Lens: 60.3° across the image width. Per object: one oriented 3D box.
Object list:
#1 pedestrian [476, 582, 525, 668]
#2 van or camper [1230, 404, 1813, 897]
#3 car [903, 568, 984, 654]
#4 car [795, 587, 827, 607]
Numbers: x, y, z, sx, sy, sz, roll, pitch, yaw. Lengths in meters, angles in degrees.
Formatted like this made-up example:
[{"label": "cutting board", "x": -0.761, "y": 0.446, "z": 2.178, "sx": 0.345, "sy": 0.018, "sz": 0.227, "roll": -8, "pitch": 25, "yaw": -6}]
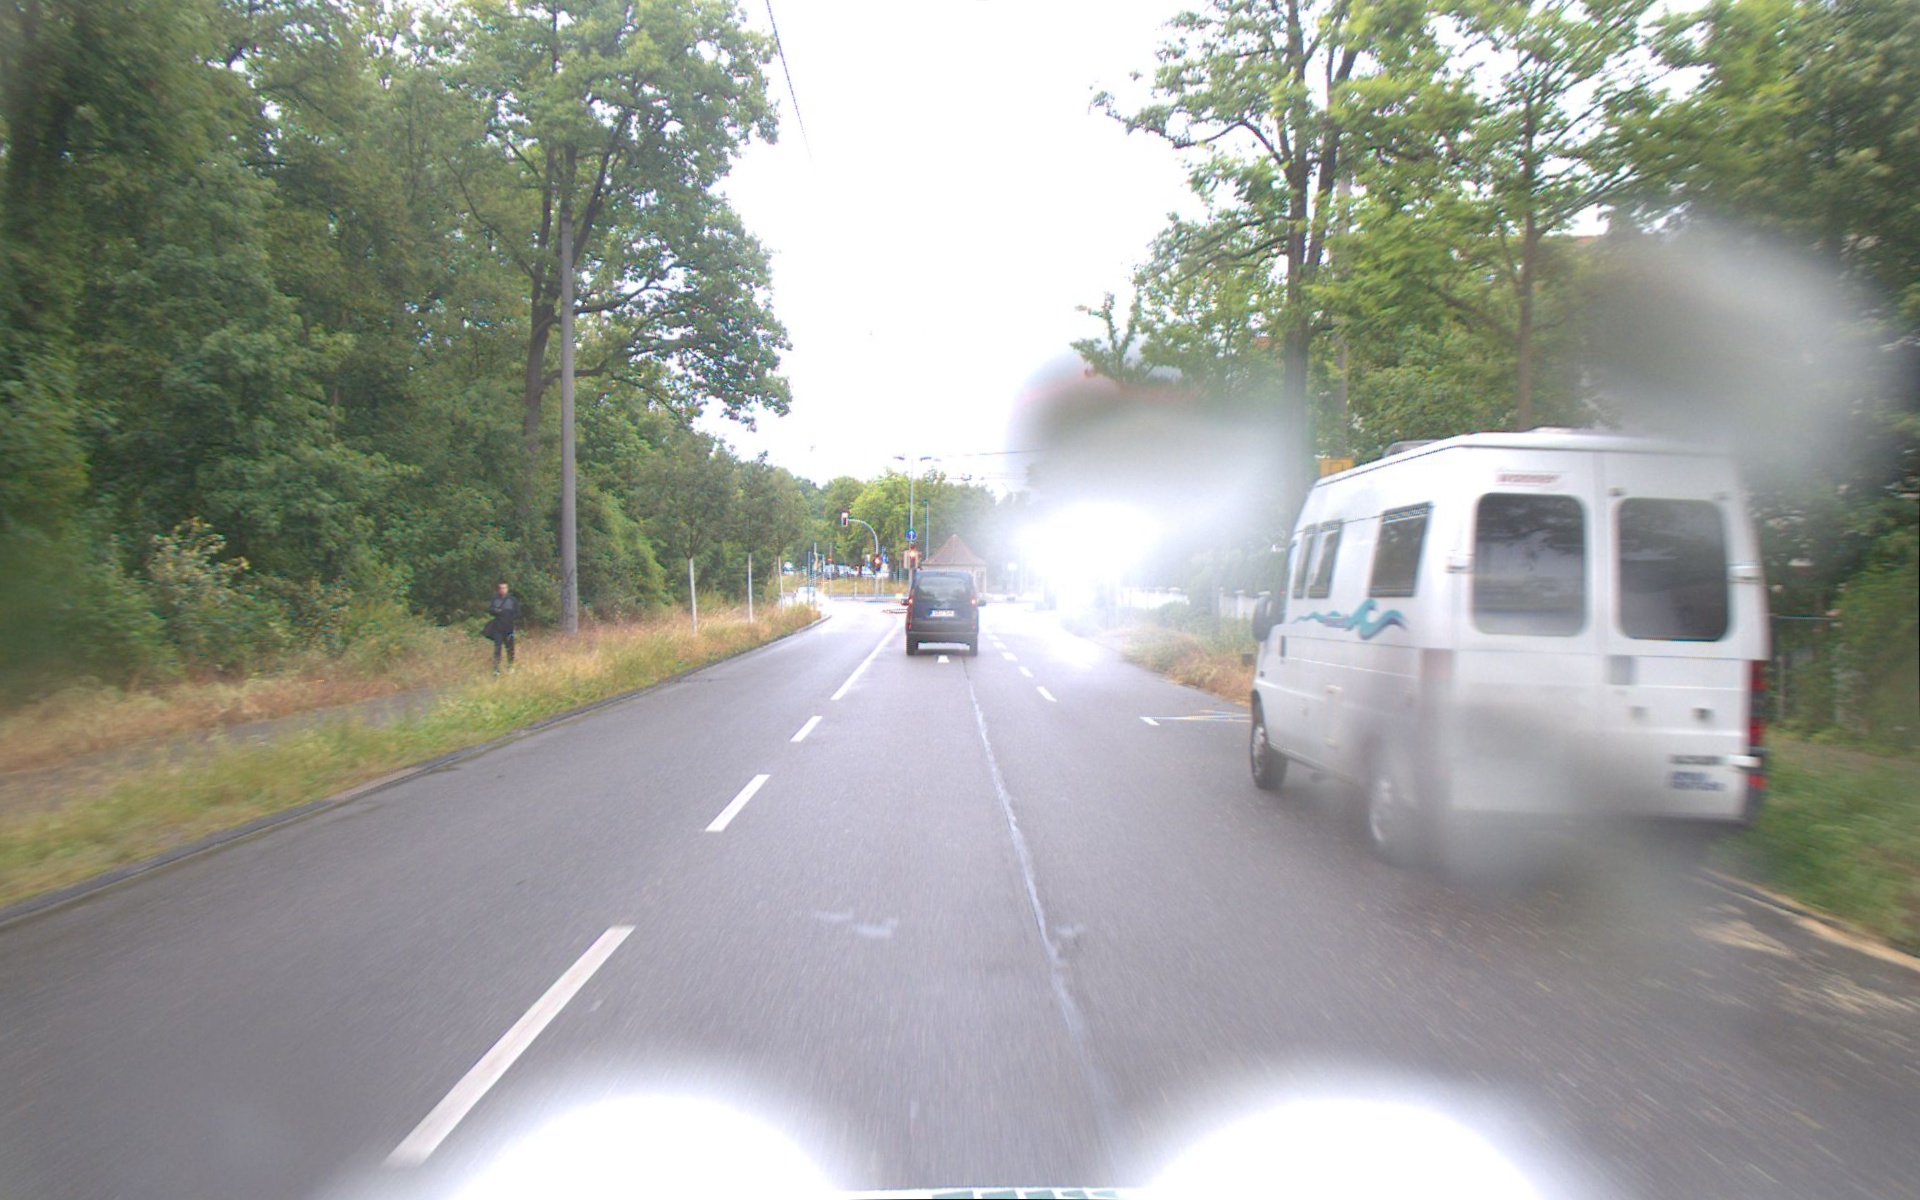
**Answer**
[{"label": "pedestrian", "x": -8.864, "y": 0.476, "z": 31.934, "sx": 0.765, "sy": 1.636, "sz": 0.732, "roll": 0, "pitch": 0, "yaw": -2}, {"label": "van or camper", "x": 3.446, "y": 0.255, "z": 11.607, "sx": 1.996, "sy": 2.522, "sz": 5.637, "roll": 3, "pitch": 0, "yaw": -1}, {"label": "car", "x": -0.374, "y": 0.215, "z": 37.502, "sx": 1.696, "sy": 1.817, "sz": 3.999, "roll": 1, "pitch": 0, "yaw": -1}, {"label": "car", "x": -10.722, "y": -0.223, "z": 118.600, "sx": 1.957, "sy": 1.334, "sz": 4.350, "roll": -2, "pitch": 1, "yaw": -9}]
